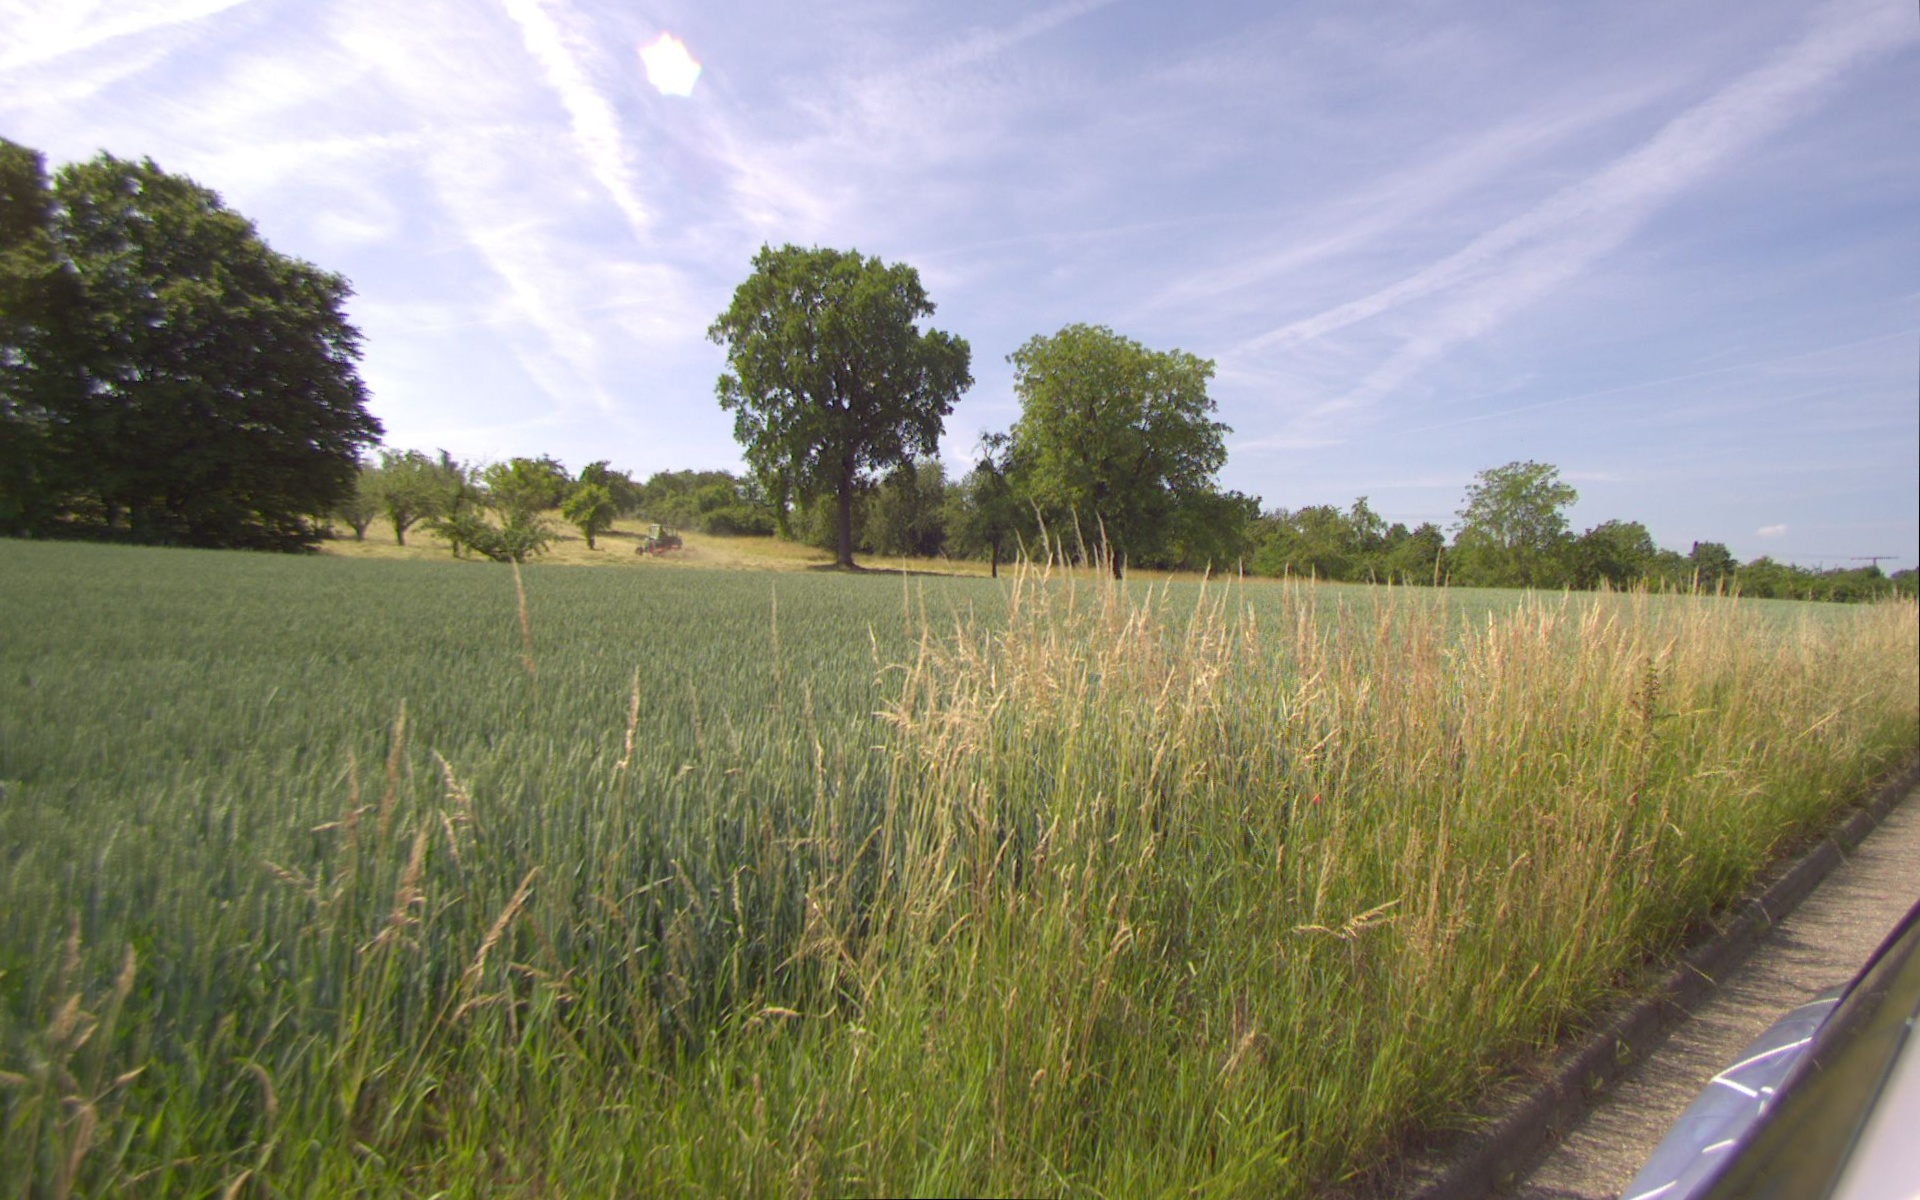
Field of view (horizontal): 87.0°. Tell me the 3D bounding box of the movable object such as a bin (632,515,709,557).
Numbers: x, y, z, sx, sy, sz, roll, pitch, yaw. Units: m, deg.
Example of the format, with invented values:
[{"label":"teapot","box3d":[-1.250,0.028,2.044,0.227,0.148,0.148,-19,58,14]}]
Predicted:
[{"label":"movable object such as a bin","box3d":[-18.622,-4.114,64.848,2.401,2.398,6.576,0,4,-38]}]
